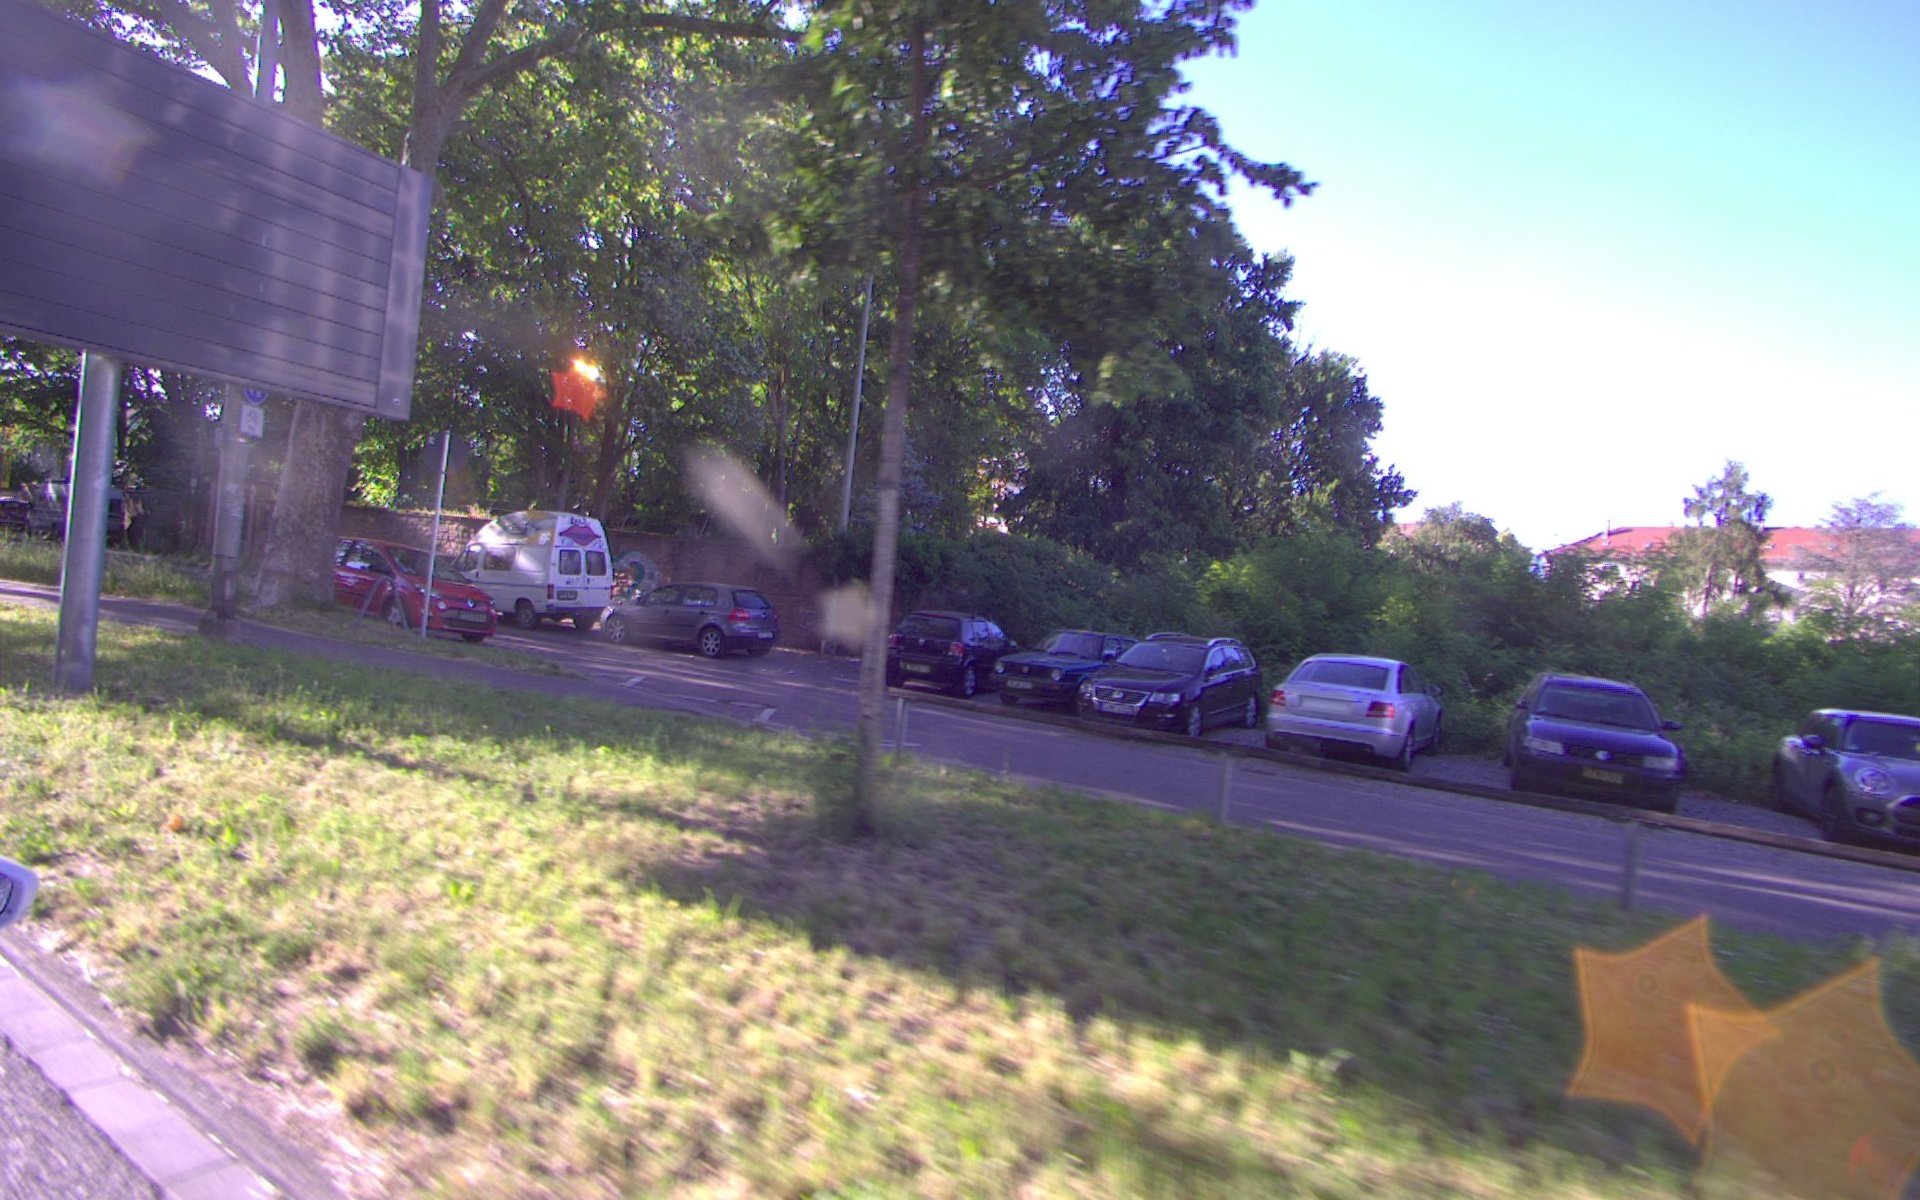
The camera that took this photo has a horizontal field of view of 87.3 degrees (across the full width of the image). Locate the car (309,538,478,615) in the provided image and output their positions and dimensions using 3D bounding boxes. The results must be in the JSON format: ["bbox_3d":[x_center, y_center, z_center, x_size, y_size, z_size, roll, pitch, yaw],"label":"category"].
[{"bbox_3d":[-15.191,-0.639,26.987,3.926,1.640,1.842,6,3,21],"label":"car"}]

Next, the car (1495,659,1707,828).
[{"bbox_3d":[8.262,1.706,13.358,1.874,1.497,4.332,8,2,28],"label":"car"}]

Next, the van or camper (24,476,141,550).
[{"bbox_3d":[-38.630,-3.850,44.224,6.464,2.720,2.553,7,2,37],"label":"van or camper"}]

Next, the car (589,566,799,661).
[{"bbox_3d":[-5.723,0.281,21.665,3.930,1.594,1.997,6,0,27],"label":"car"}]

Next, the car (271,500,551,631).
[{"bbox_3d":[-9.275,-0.575,17.043,3.927,1.659,2.001,6,-2,22],"label":"car"}]

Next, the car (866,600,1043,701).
[{"bbox_3d":[0.023,0.971,19.086,1.734,1.523,3.998,6,-1,24],"label":"car"}]

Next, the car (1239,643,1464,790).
[{"bbox_3d":[5.791,1.511,14.539,1.968,1.430,4.375,6,3,34],"label":"car"}]

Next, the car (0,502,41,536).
[{"bbox_3d":[-47.022,-4.046,49.727,3.702,1.491,1.688,6,2,38],"label":"car"}]

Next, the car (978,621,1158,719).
[{"bbox_3d":[2.052,1.185,17.972,1.593,1.410,3.989,6,1,31],"label":"car"}]

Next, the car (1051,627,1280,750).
[{"bbox_3d":[3.456,1.270,16.151,1.967,1.425,4.718,6,3,32],"label":"car"}]

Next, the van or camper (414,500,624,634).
[{"bbox_3d":[-10.683,-0.827,24.262,4.879,2.768,1.994,6,3,29],"label":"van or camper"}]

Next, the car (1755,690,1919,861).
[{"bbox_3d":[10.864,1.973,11.693,1.752,1.517,4.197,6,0,29],"label":"car"}]
